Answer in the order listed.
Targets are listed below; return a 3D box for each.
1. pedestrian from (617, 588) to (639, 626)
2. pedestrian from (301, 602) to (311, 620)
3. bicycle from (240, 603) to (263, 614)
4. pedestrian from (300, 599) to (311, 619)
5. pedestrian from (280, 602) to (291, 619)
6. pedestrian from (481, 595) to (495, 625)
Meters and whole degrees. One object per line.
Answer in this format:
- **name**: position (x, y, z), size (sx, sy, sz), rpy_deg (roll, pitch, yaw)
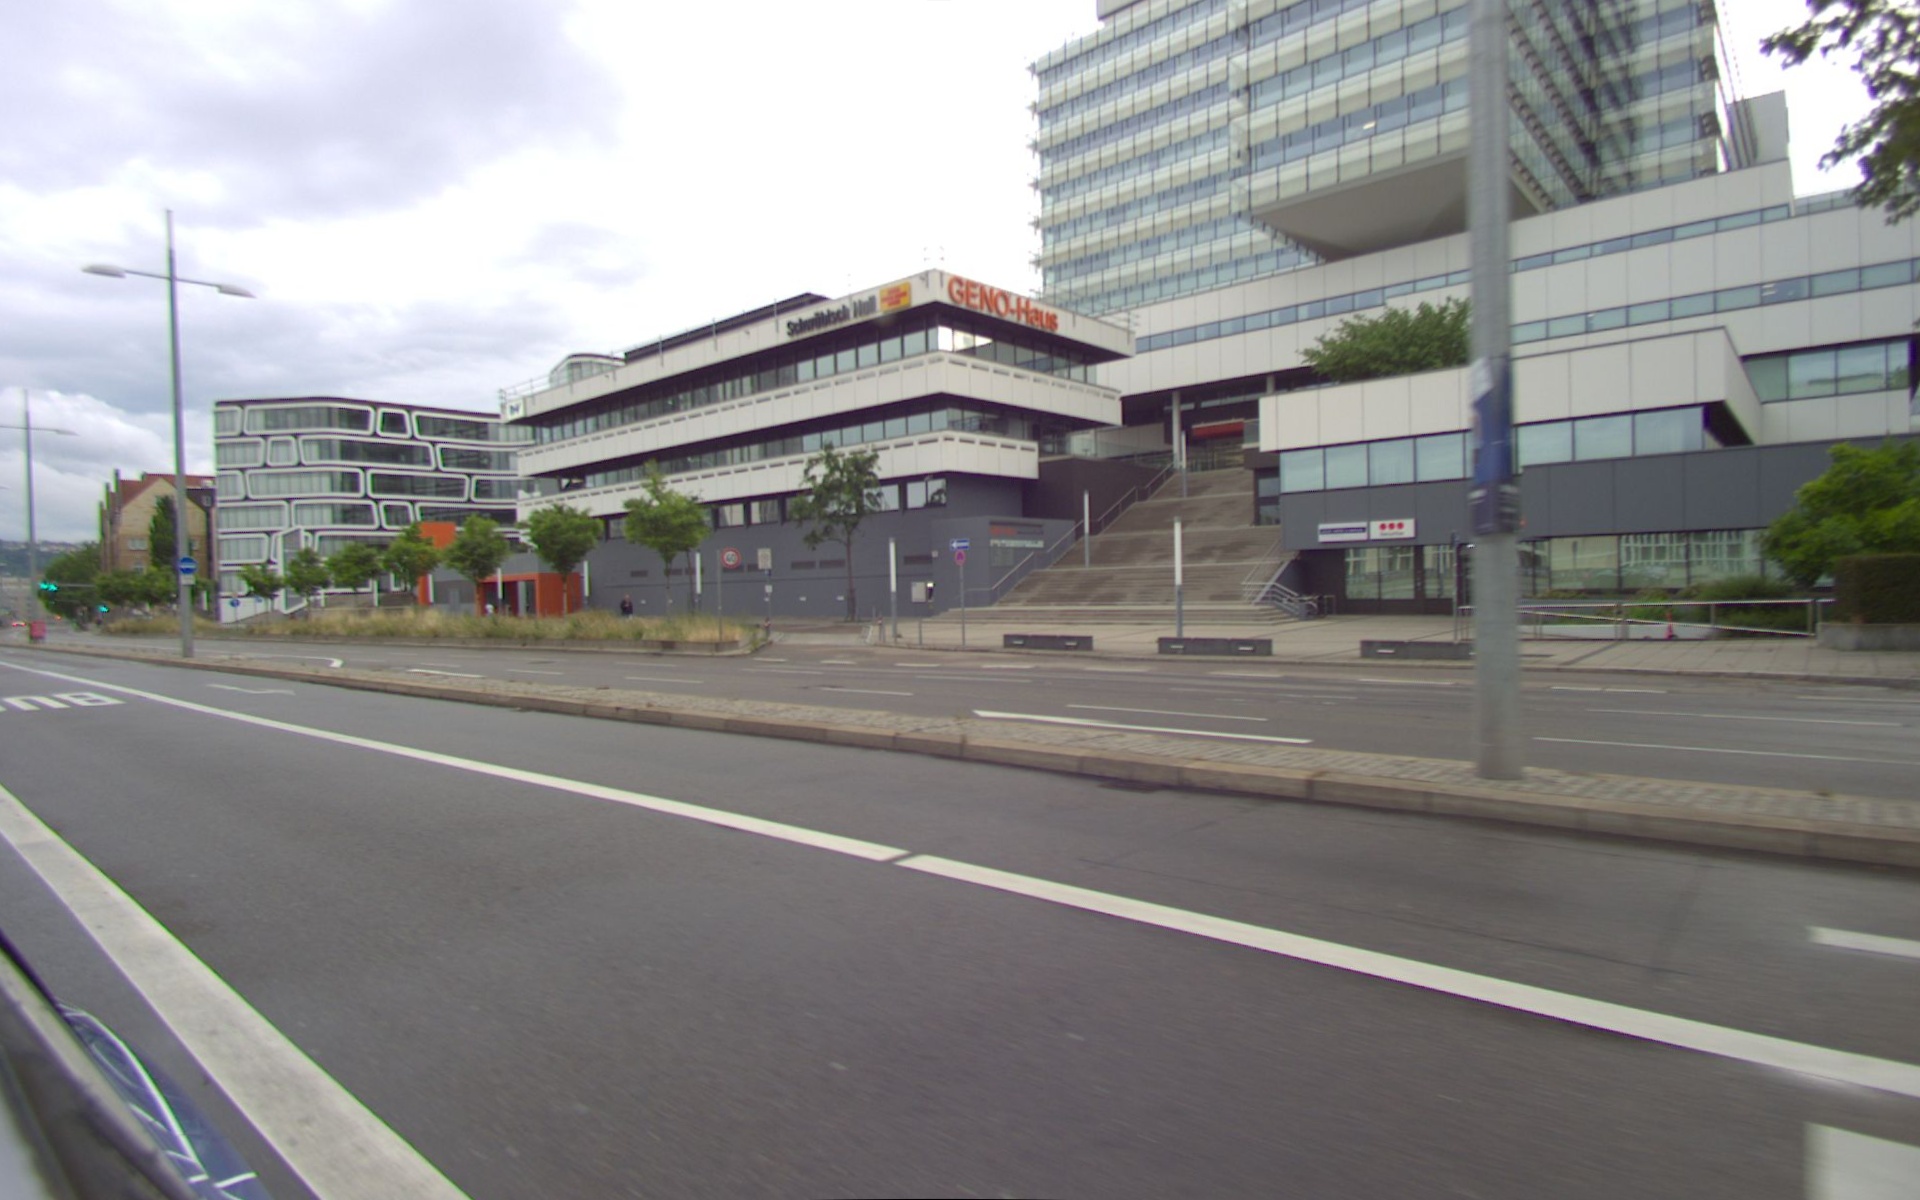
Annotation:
- **pedestrian**: position (-16.116, 0.323, 49.133), size (0.628, 1.821, 0.776), rpy_deg (0, 1, 42)
- **pedestrian**: position (-61.242, 1.001, 94.772), size (0.604, 1.623, 0.640), rpy_deg (-3, 2, -45)
- **bicycle**: position (-58.726, 0.700, 83.910), size (1.638, 0.864, 0.608), rpy_deg (0, 1, 9)
- **pedestrian**: position (-55.788, 0.782, 86.300), size (0.798, 1.670, 0.611), rpy_deg (0, -1, 43)
- **pedestrian**: position (-56.725, 0.889, 85.088), size (0.798, 1.457, 0.611), rpy_deg (0, 1, 43)
- **pedestrian**: position (-29.234, 0.593, 62.679), size (0.628, 1.821, 0.623), rpy_deg (0, 1, 42)
